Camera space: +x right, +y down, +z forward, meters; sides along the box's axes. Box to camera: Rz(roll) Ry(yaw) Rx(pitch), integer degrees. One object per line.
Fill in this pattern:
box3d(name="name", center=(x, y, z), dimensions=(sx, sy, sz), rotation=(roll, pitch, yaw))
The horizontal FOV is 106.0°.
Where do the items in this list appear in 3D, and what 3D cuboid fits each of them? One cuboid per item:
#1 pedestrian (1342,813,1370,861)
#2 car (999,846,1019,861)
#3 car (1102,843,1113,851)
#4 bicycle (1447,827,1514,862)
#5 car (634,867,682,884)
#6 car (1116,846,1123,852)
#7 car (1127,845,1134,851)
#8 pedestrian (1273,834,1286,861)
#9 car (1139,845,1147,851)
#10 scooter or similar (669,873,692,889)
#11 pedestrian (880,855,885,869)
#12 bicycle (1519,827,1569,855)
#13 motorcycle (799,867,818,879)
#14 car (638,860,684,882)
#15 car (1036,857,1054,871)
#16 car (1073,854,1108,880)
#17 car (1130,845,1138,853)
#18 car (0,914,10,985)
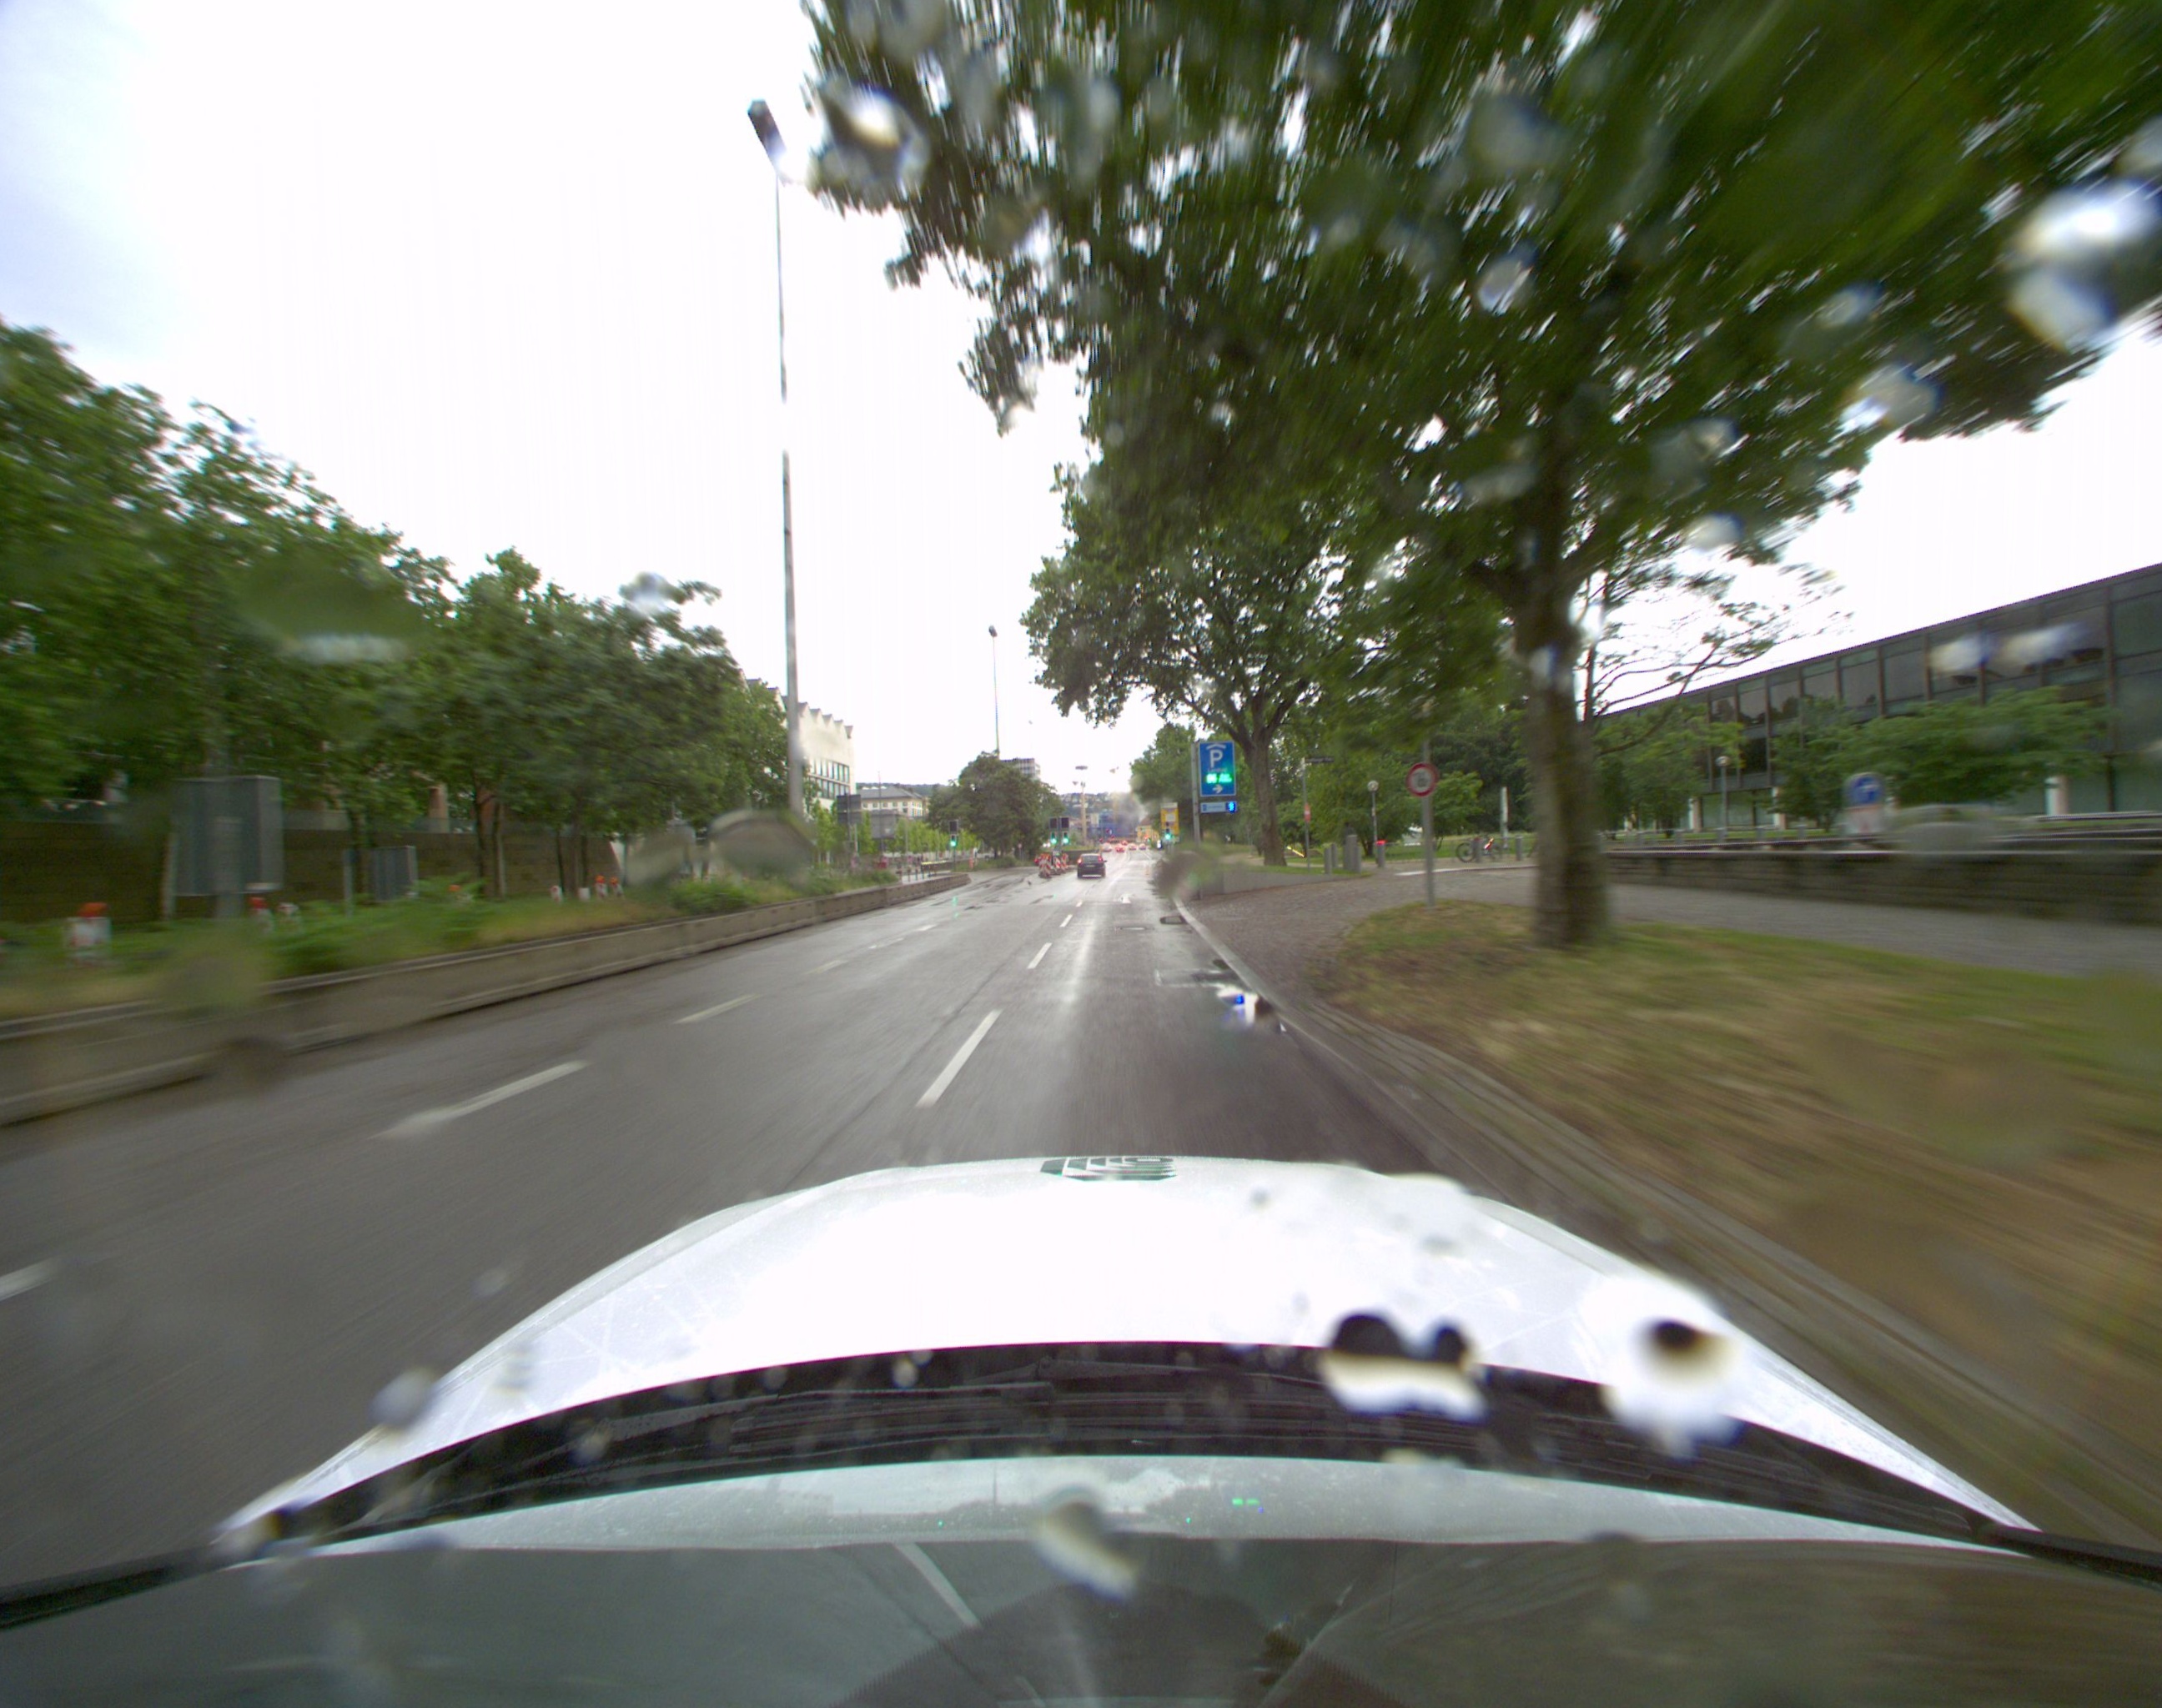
box3d(name="pedestrian", center=(10.181, -0.638, 30.176), dimensions=(0.702, 1.718, 0.693), rotation=(-4, 0, 2))
box3d(name="car", center=(-8.169, -0.005, 92.666), dimensions=(1.989, 1.632, 3.996), rotation=(-2, 0, -2))
box3d(name="car", center=(7.140, -1.819, 218.125), dimensions=(2.208, 2.014, 4.008), rotation=(-5, -2, 7))
box3d(name="bicycle", center=(14.846, -0.353, 30.312), dimensions=(2.033, 1.173, 0.957), rotation=(-3, 0, -9))
box3d(name="car", center=(-45.557, 2.297, 87.735), dimensions=(3.975, 1.596, 1.999), rotation=(-2, 0, -1))
box3d(name="car", center=(11.430, -1.452, 241.868), dimensions=(1.985, 1.782, 4.004), rotation=(-4, -1, 4))
box3d(name="car", center=(14.481, -1.778, 239.512), dimensions=(1.704, 1.690, 3.854), rotation=(-4, -1, 5))
box3d(name="pedestrian", center=(13.101, -0.416, 53.829), dimensions=(0.592, 1.755, 0.725), rotation=(-4, 0, 0))
box3d(name="car", center=(17.983, -1.712, 236.578), dimensions=(1.984, 1.599, 4.005), rotation=(-4, -1, 5))
box3d(name="scooter or similar", center=(-35.622, 2.387, 72.473), dimensions=(0.706, 1.351, 1.684), rotation=(-5, -1, 23))
box3d(name="pedestrian", center=(-29.827, 1.175, 122.467), dimensions=(0.543, 2.014, 0.525), rotation=(-3, -1, -33))
box3d(name="bicycle", center=(19.220, -0.529, 33.827), dimensions=(1.638, 1.085, 0.708), rotation=(-3, 0, -4))
box3d(name="motorcycle", center=(-29.682, 2.065, 88.773), dimensions=(1.843, 1.154, 0.423), rotation=(-3, -1, -26))
box3d(name="car", center=(-46.209, 1.891, 89.653), dimensions=(3.974, 2.012, 2.001), rotation=(3, 6, -1))
box3d(name="car", center=(-4.867, 1.379, 111.044), dimensions=(1.985, 1.781, 4.004), rotation=(-3, 0, 3))
box3d(name="car", center=(0.523, 0.800, 49.949), dimensions=(1.840, 1.416, 3.834), rotation=(-4, -1, -3))
box3d(name="car", center=(15.147, -1.400, 234.190), dimensions=(1.981, 2.014, 3.999), rotation=(-4, -1, 0))
box3d(name="car", center=(-24.585, 2.114, 15.883), dimensions=(1.985, 1.530, 4.002), rotation=(-4, -1, 3))
